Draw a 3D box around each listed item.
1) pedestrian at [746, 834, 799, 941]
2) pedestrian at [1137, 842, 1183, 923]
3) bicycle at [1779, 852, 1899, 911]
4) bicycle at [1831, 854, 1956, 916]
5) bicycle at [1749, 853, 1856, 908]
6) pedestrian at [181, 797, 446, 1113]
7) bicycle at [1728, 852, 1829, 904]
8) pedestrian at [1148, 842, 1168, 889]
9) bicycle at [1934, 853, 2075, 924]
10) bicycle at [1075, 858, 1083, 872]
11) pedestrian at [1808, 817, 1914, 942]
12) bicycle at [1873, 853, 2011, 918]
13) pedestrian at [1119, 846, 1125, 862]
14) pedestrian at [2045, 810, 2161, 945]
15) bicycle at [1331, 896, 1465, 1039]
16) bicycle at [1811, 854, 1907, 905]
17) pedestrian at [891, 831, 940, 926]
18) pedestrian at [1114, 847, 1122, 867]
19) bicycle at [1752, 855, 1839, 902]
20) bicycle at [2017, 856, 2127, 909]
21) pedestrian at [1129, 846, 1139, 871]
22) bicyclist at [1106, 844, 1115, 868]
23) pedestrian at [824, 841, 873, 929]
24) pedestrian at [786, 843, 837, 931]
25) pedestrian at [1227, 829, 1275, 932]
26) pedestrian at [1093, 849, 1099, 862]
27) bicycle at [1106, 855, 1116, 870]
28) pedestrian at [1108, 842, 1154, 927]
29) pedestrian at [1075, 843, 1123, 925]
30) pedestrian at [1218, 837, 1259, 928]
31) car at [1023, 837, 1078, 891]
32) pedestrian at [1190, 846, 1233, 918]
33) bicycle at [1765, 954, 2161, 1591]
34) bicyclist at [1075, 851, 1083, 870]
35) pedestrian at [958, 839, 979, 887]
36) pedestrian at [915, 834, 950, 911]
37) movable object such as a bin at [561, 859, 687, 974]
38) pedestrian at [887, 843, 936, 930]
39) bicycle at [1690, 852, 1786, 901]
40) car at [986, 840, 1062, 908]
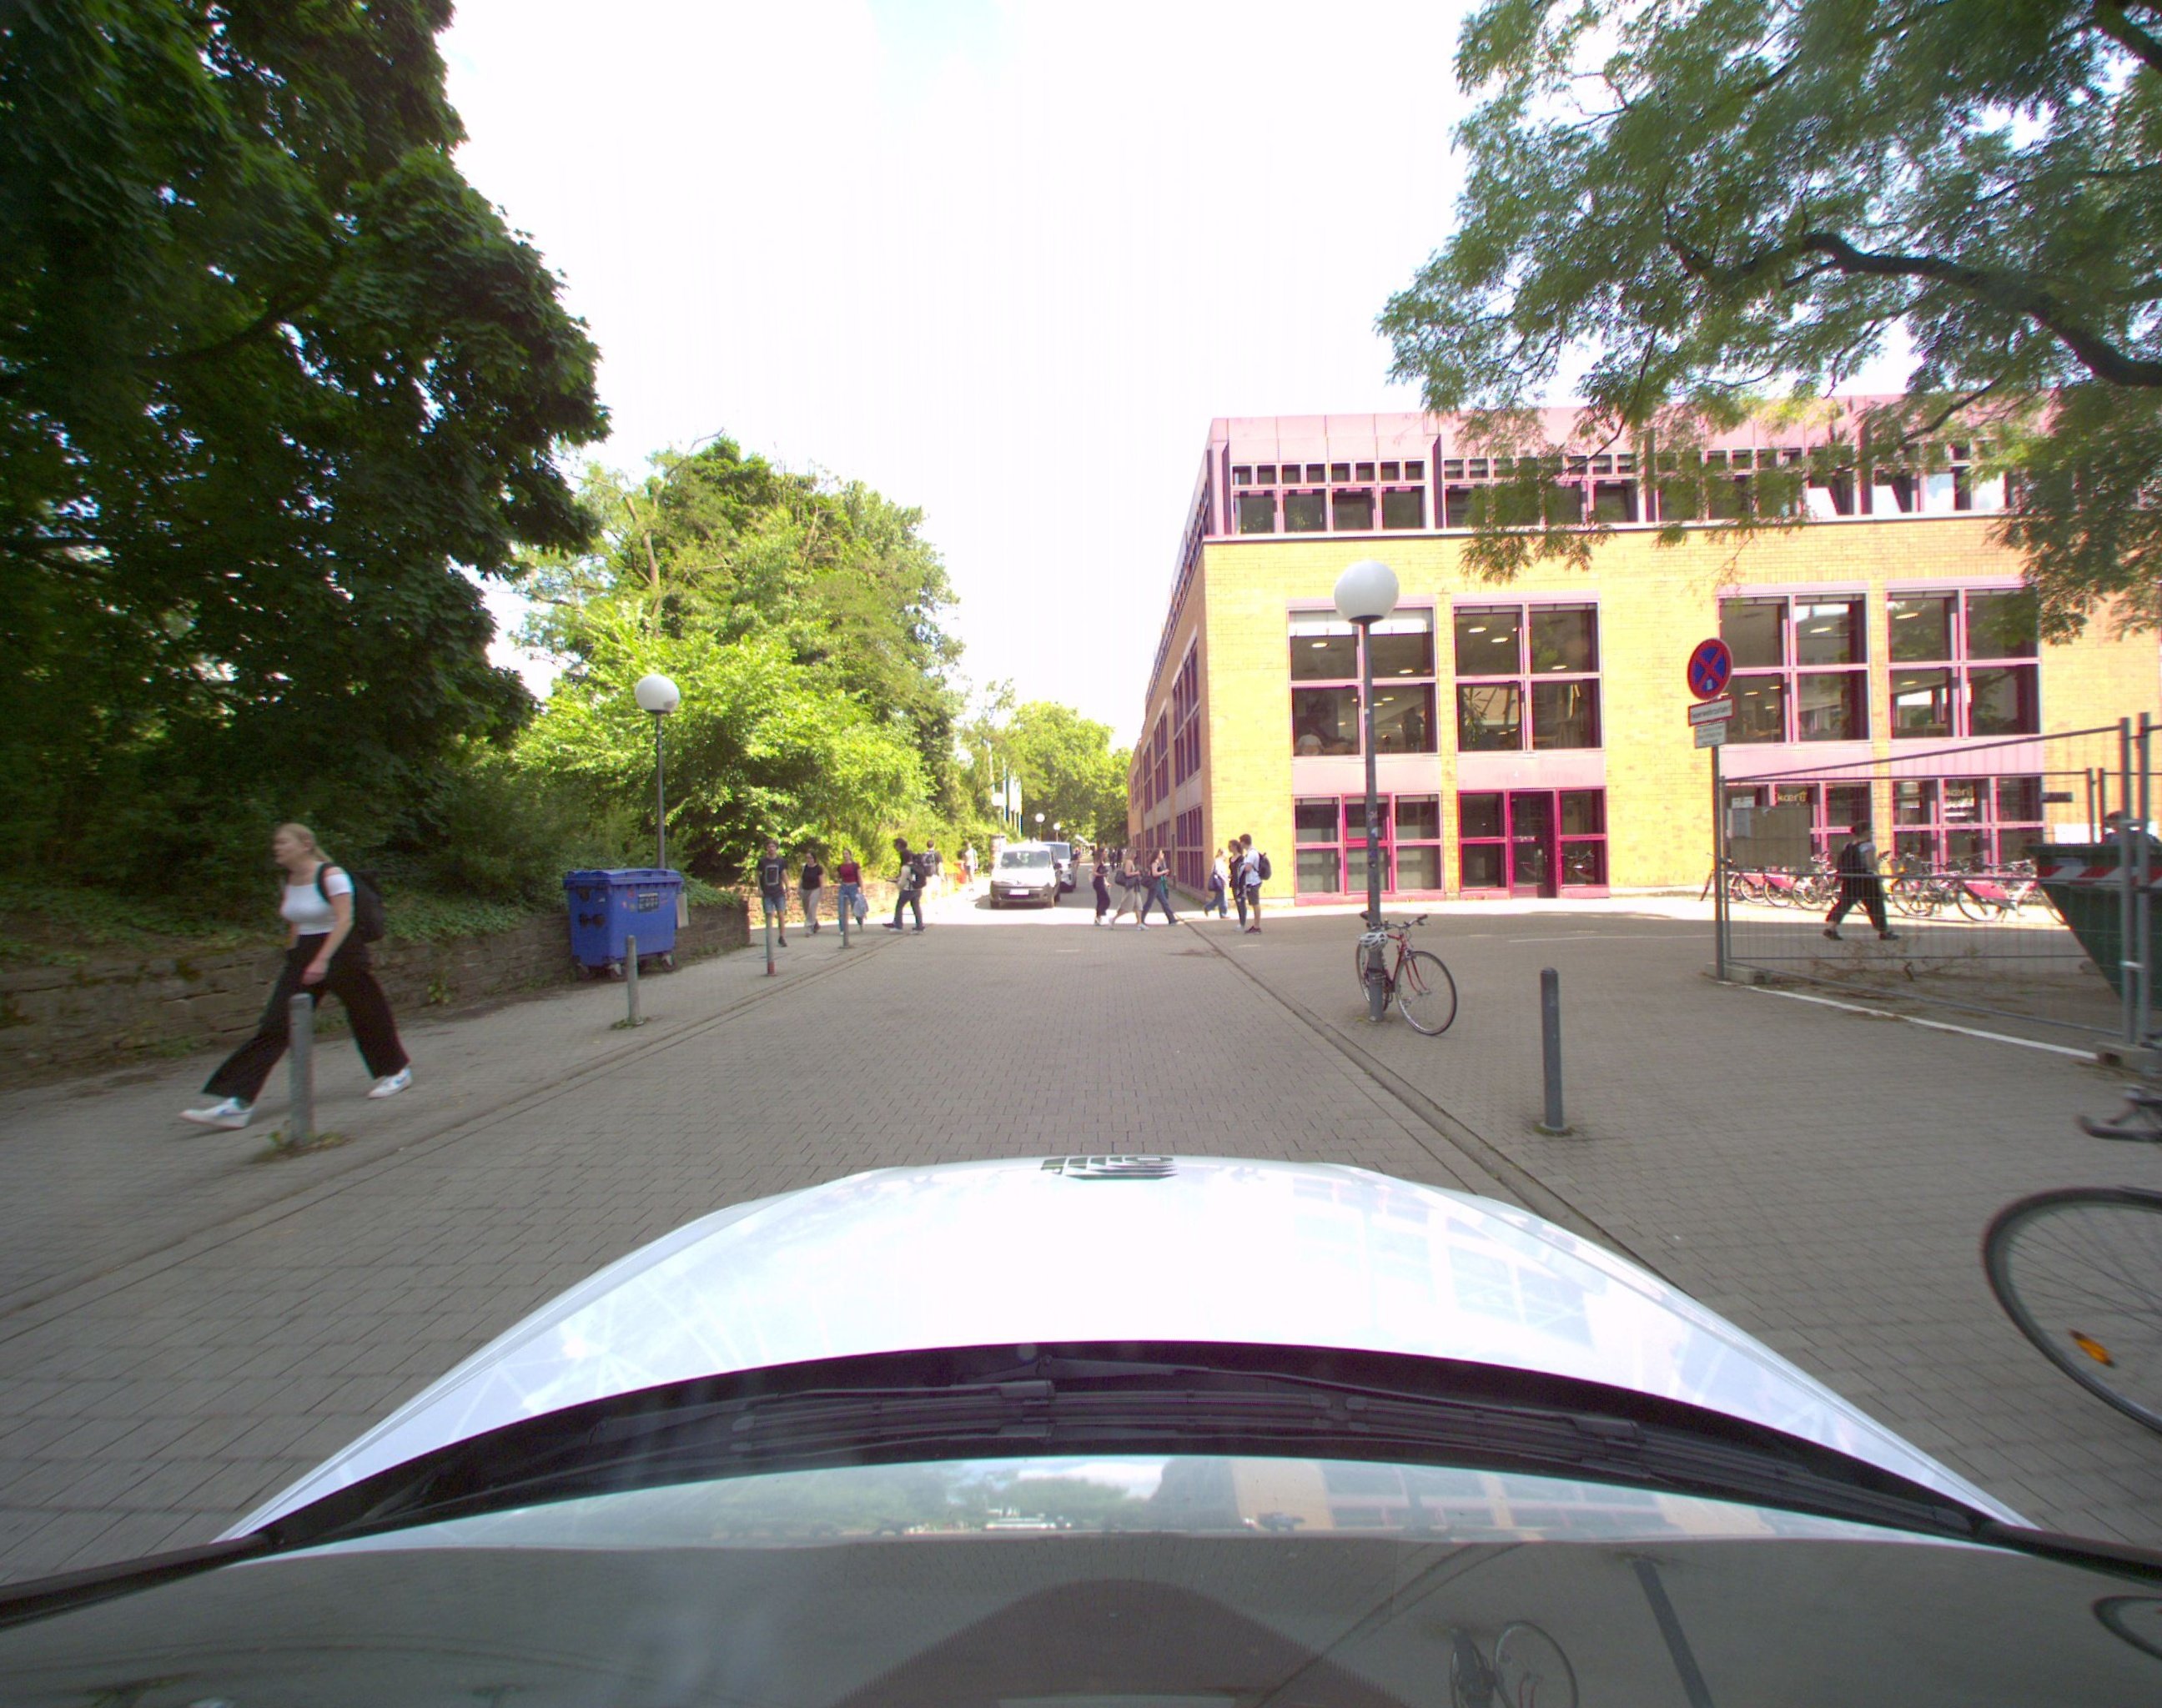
[{"bbox_3d":[-5.180,0.542,13.731,0.683,1.728,1.016,0,-1,-13],"label":"pedestrian"},{"bbox_3d":[1.675,0.603,17.364,0.925,1.672,0.588,-1,-1,3],"label":"pedestrian"},{"bbox_3d":[14.925,0.532,16.066,1.801,1.110,0.524,1,0,4],"label":"bicycle"},{"bbox_3d":[15.098,0.563,15.146,1.803,1.110,0.524,1,0,0],"label":"bicycle"},{"bbox_3d":[14.971,0.543,16.914,1.804,1.110,0.523,1,0,-2],"label":"bicycle"},{"bbox_3d":[-4.606,0.550,4.979,0.681,1.728,1.001,0,0,-3],"label":"pedestrian"},{"bbox_3d":[15.392,0.521,17.991,1.803,1.110,0.524,1,0,0],"label":"bicycle"},{"bbox_3d":[2.920,0.433,30.892,0.680,1.747,0.783,0,-1,1],"label":"pedestrian"},{"bbox_3d":[15.131,0.551,13.360,1.686,1.110,0.475,1,0,4],"label":"bicycle"},{"bbox_3d":[-0.162,0.871,66.511,0.585,1.083,1.812,0,0,-2],"label":"bicycle"},{"bbox_3d":[10.632,0.342,11.128,0.847,1.651,0.589,0,-1,8],"label":"pedestrian"},{"bbox_3d":[15.288,0.546,14.481,1.801,1.110,0.524,1,0,5],"label":"bicycle"},{"bbox_3d":[4.885,0.005,97.385,0.651,1.922,0.818,-2,-1,3],"label":"pedestrian"},{"bbox_3d":[13.230,0.293,10.348,1.038,1.651,0.705,0,-1,8],"label":"pedestrian"},{"bbox_3d":[2.655,0.896,7.002,0.449,0.962,1.740,-3,0,1],"label":"bicycle"},{"bbox_3d":[17.306,0.556,18.132,1.803,1.110,0.473,1,0,-5],"label":"bicycle"},{"bbox_3d":[-3.280,0.481,16.198,0.823,1.844,0.684,0,-1,-1],"label":"pedestrian"},{"bbox_3d":[3.142,0.280,69.376,0.584,1.672,0.818,-2,-1,3],"label":"pedestrian"},{"bbox_3d":[17.190,0.581,19.602,1.803,1.110,0.473,1,0,-5],"label":"bicycle"},{"bbox_3d":[23.050,0.655,18.958,1.990,1.169,0.474,1,0,-1],"label":"bicycle"},{"bbox_3d":[3.634,0.332,55.713,0.584,1.672,0.699,-2,-1,3],"label":"pedestrian"},{"bbox_3d":[2.180,0.141,59.825,0.585,1.716,0.665,0,0,-2],"label":"bicyclist"},{"bbox_3d":[-4.414,0.584,15.503,0.681,1.620,0.913,0,-1,-3],"label":"pedestrian"},{"bbox_3d":[-5.111,0.605,15.509,0.681,1.620,0.977,0,-1,-3],"label":"pedestrian"},{"bbox_3d":[3.069,0.477,14.740,0.762,1.794,0.589,-2,-1,8],"label":"pedestrian"},{"bbox_3d":[1.924,0.174,105.040,0.722,1.672,0.749,-2,-1,3],"label":"pedestrian"},{"bbox_3d":[2.185,0.599,59.805,0.585,1.083,1.906,0,0,-2],"label":"bicycle"},{"bbox_3d":[1.012,0.610,16.367,0.881,1.672,0.560,0,-1,8],"label":"pedestrian"},{"bbox_3d":[0.389,0.632,17.371,0.881,1.672,0.645,-2,1,8],"label":"pedestrian"},{"bbox_3d":[3.000,0.541,15.537,0.692,1.672,0.589,-2,-1,9],"label":"pedestrian"},{"bbox_3d":[-1.139,0.362,32.754,1.877,1.974,5.216,0,0,1],"label":"car"},{"bbox_3d":[2.888,0.606,18.061,0.881,1.542,0.745,-2,0,8],"label":"pedestrian"},{"bbox_3d":[2.401,0.849,1.576,0.706,1.093,1.749,0,0,1],"label":"bicycle"},{"bbox_3d":[-0.152,0.507,66.481,0.585,1.573,0.829,0,0,-2],"label":"bicyclist"},{"bbox_3d":[-4.329,0.350,31.367,0.680,1.844,0.783,0,-1,1],"label":"pedestrian"},{"bbox_3d":[-3.597,0.450,19.838,0.680,1.844,0.783,0,-1,1],"label":"pedestrian"},{"bbox_3d":[-5.734,0.743,10.299,0.705,1.336,1.243,2,0,11],"label":"movable object such as a bin"},{"bbox_3d":[-3.219,0.602,15.508,0.778,1.620,0.684,0,-1,-1],"label":"pedestrian"},{"bbox_3d":[15.189,0.518,18.839,1.803,1.110,0.523,1,0,-1],"label":"bicycle"},{"bbox_3d":[-1.556,0.514,23.824,1.784,1.761,4.482,-1,0,1],"label":"car"}]
